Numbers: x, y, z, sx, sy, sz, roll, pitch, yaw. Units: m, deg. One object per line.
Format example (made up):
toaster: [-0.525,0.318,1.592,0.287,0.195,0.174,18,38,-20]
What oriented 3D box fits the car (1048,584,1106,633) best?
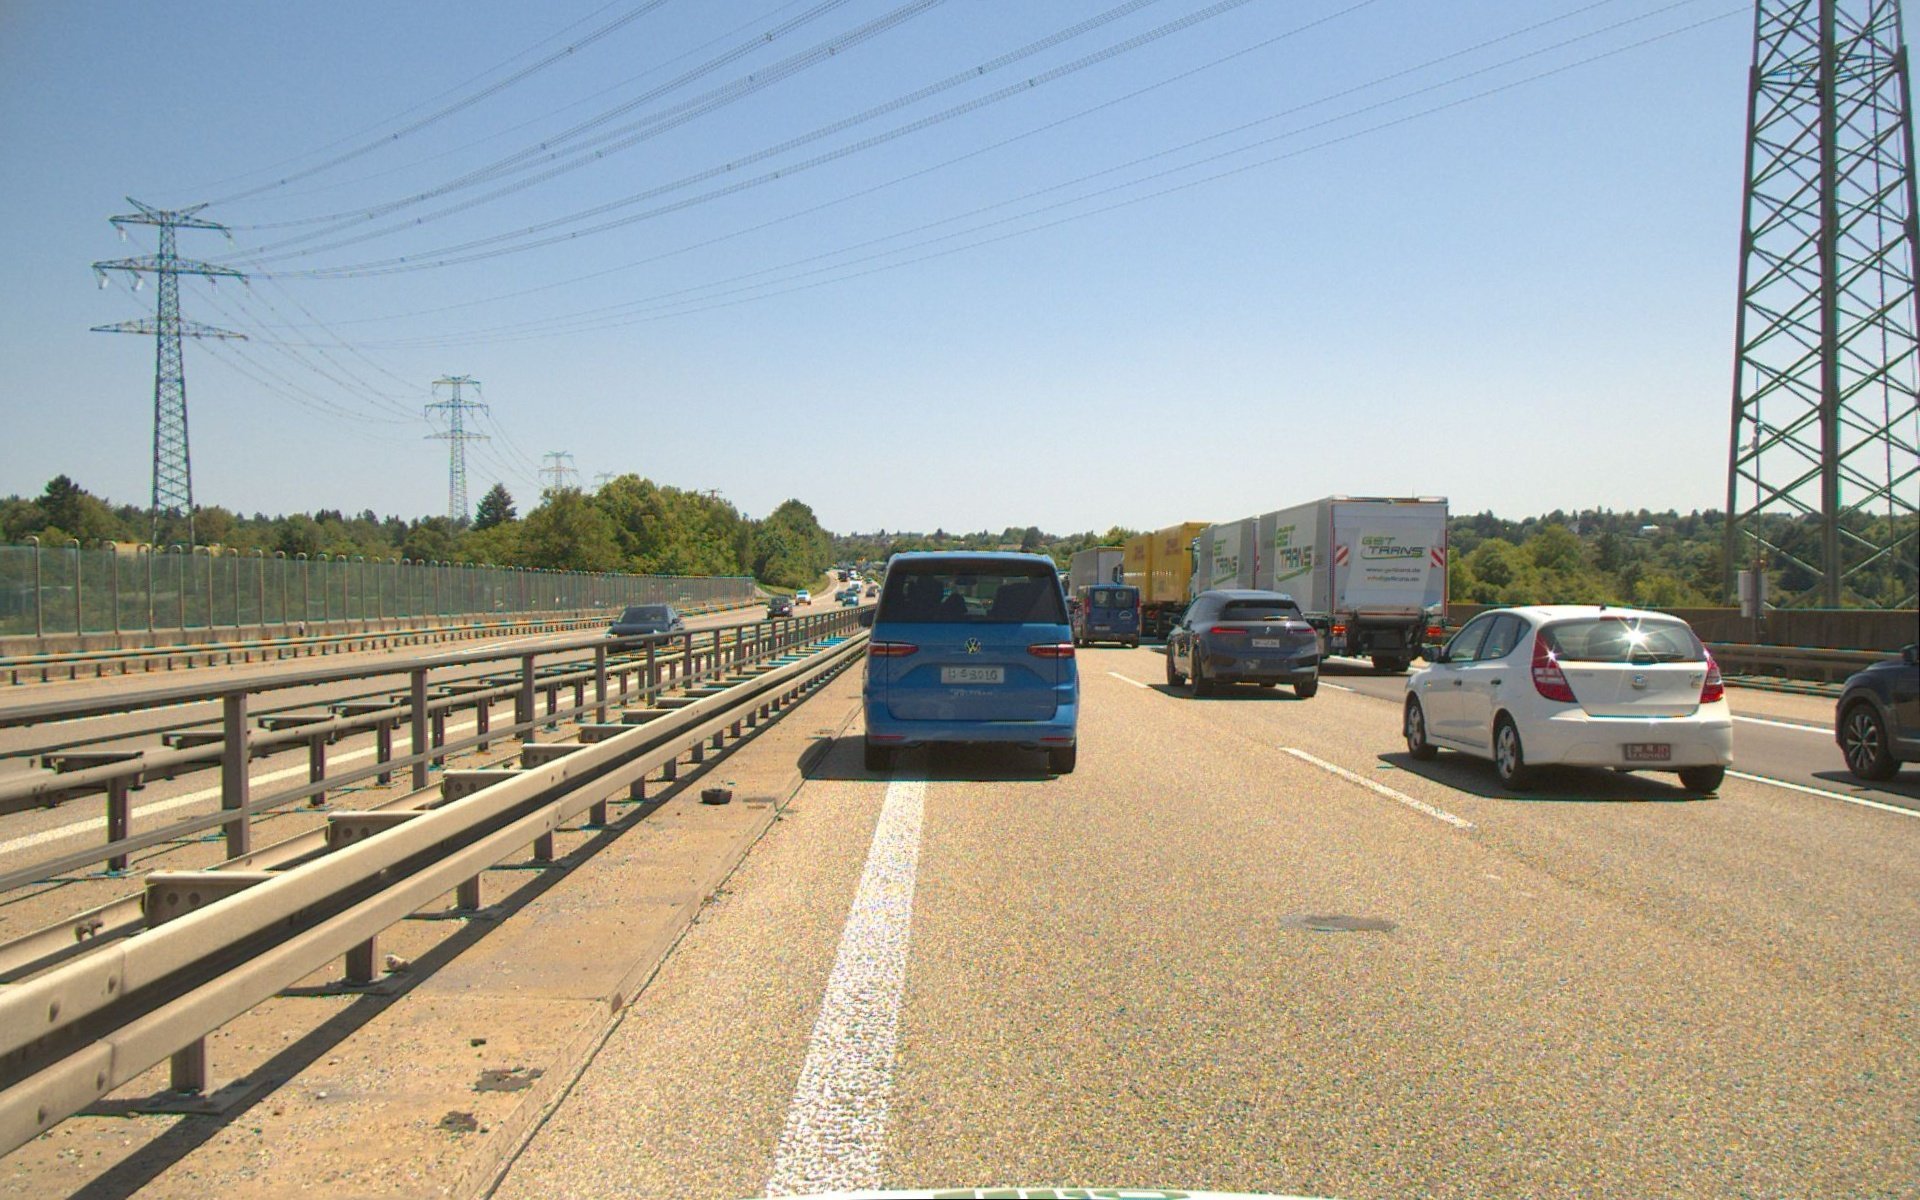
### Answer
car: [4.581,0.314,65.102,1.953,1.847,3.999,0,0,-1]

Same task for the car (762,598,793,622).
car: [-13.870,0.767,125.778,1.953,1.701,4.185,-2,0,-2]

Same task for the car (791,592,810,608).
car: [-20.470,0.021,212.340,1.953,1.918,5.254,-3,0,-1]

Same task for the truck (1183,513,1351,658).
truck: [8.584,-0.384,47.756,2.602,3.711,11.008,0,0,-1]

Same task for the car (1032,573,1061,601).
car: [6.542,-0.982,125.449,1.953,2.049,4.460,-1,0,-1]

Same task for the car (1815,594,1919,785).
car: [8.685,0.744,13.056,1.700,1.553,4.105,1,0,-1]

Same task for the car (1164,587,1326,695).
car: [4.690,0.629,27.816,1.922,1.673,4.292,0,0,-1]

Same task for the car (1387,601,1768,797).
car: [5.279,0.756,14.793,1.752,1.481,4.292,0,0,-1]

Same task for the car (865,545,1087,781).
car: [0.110,0.517,15.499,1.783,1.890,4.074,1,0,-1]

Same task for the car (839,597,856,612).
car: [-12.929,0.491,189.900,1.769,1.656,4.477,1,0,-1]

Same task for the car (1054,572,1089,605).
car: [7.206,-0.732,107.536,1.953,2.049,3.999,1,0,-1]

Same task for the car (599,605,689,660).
car: [-8.850,0.879,46.640,1.732,1.444,4.265,-1,0,-1]

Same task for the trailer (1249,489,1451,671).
trailer: [8.774,-0.429,38.270,2.643,3.765,8.012,0,0,-1]

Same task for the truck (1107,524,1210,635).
truck: [8.305,-0.804,70.516,2.778,4.317,11.007,1,0,-1]

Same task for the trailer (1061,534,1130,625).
trailer: [7.206,-1.070,89.640,2.583,4.595,11.299,1,0,-1]

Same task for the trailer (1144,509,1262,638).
trailer: [8.735,-0.866,60.490,2.806,4.313,9.009,1,0,-1]

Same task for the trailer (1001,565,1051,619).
trailer: [3.925,-0.446,100.615,2.517,3.042,10.661,1,0,0]

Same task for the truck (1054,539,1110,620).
truck: [7.085,-1.144,96.683,2.613,4.563,6.848,1,0,-1]

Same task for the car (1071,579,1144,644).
car: [4.748,0.365,53.802,1.922,2.028,4.292,0,0,-1]
